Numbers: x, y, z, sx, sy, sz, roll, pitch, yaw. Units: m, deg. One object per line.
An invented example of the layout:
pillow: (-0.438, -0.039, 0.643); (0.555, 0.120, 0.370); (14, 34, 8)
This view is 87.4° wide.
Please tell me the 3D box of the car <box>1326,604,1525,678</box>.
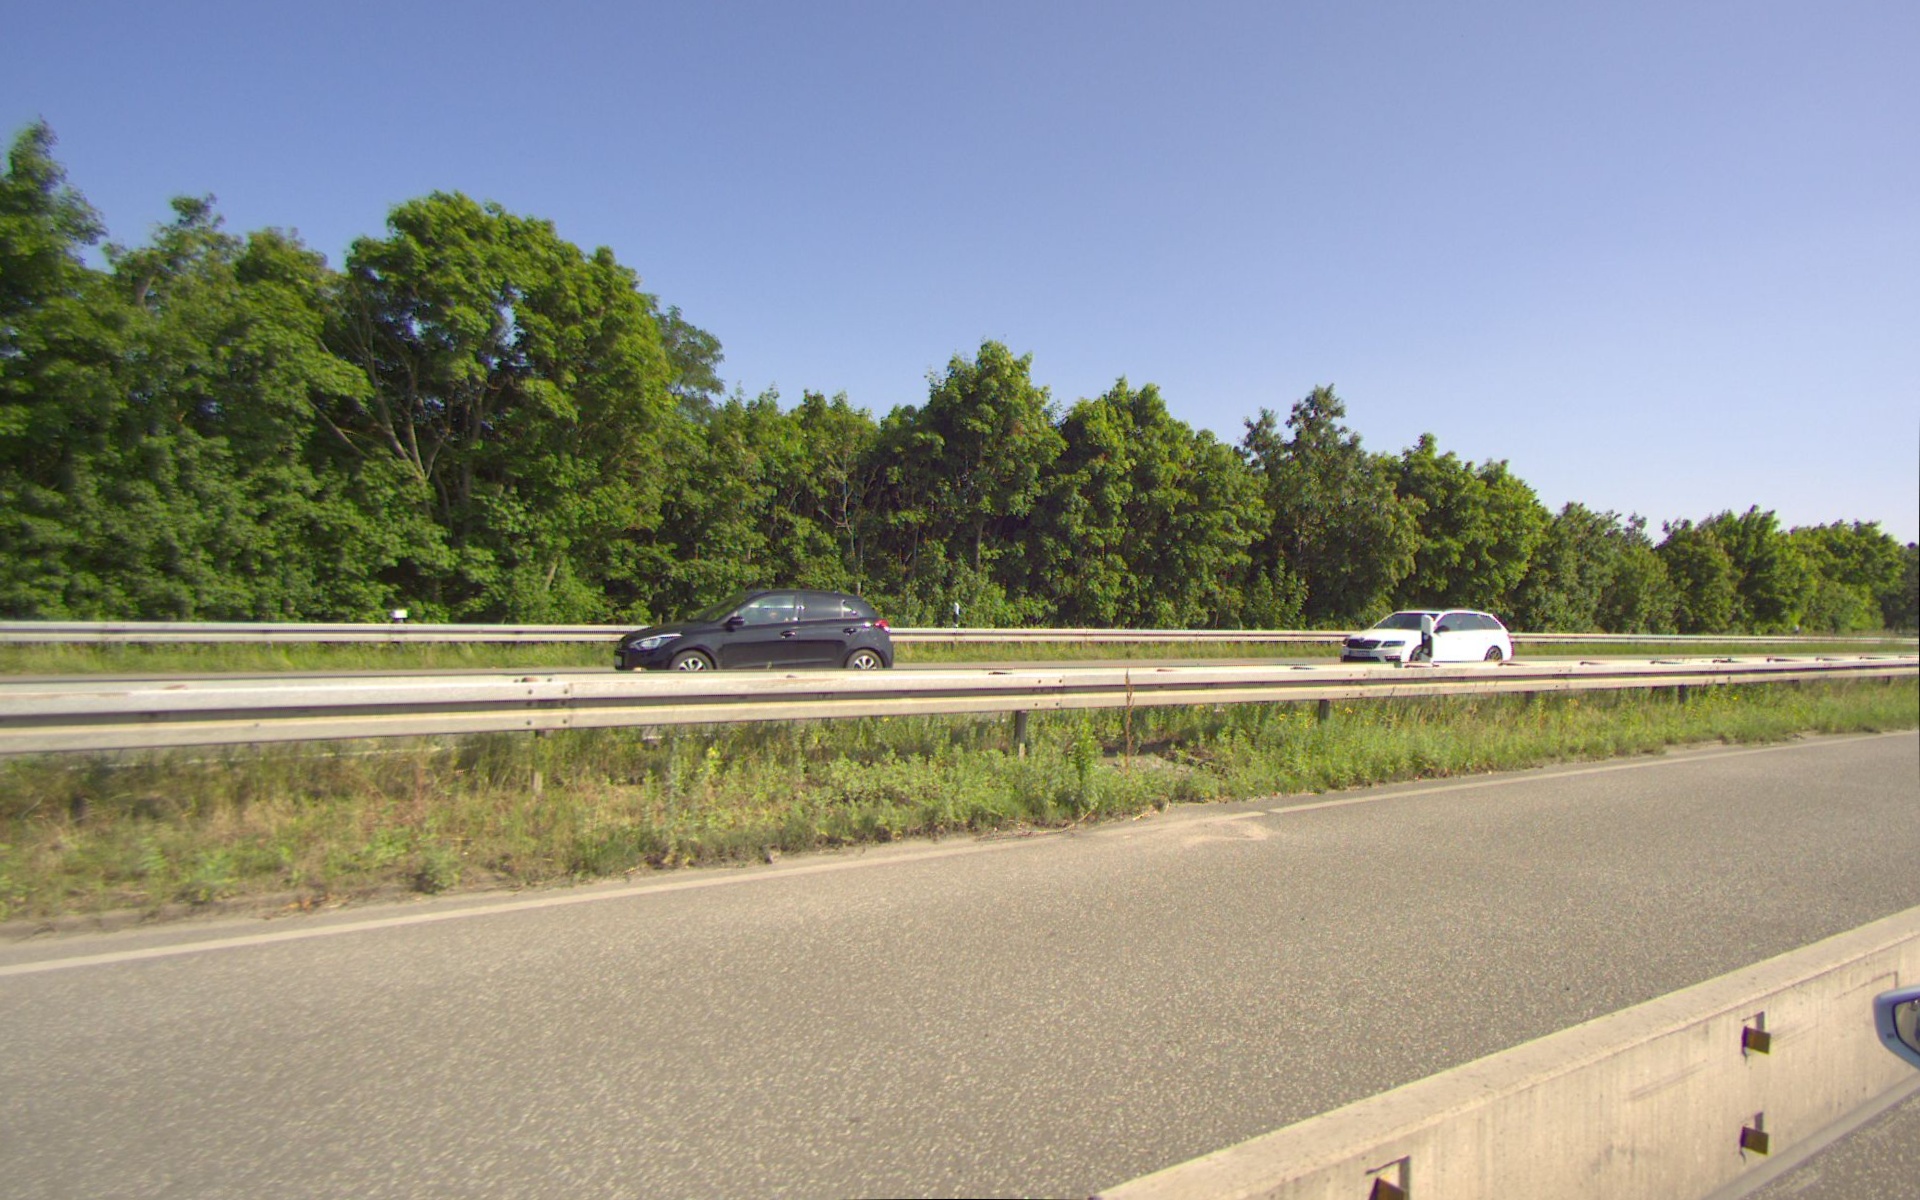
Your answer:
car: (10.628, 0.903, 22.842); (4.740, 1.490, 1.750); (1, 1, -31)

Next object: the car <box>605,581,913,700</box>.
car: (-2.888, 0.546, 14.653); (4.062, 1.514, 1.729); (1, 0, -31)
